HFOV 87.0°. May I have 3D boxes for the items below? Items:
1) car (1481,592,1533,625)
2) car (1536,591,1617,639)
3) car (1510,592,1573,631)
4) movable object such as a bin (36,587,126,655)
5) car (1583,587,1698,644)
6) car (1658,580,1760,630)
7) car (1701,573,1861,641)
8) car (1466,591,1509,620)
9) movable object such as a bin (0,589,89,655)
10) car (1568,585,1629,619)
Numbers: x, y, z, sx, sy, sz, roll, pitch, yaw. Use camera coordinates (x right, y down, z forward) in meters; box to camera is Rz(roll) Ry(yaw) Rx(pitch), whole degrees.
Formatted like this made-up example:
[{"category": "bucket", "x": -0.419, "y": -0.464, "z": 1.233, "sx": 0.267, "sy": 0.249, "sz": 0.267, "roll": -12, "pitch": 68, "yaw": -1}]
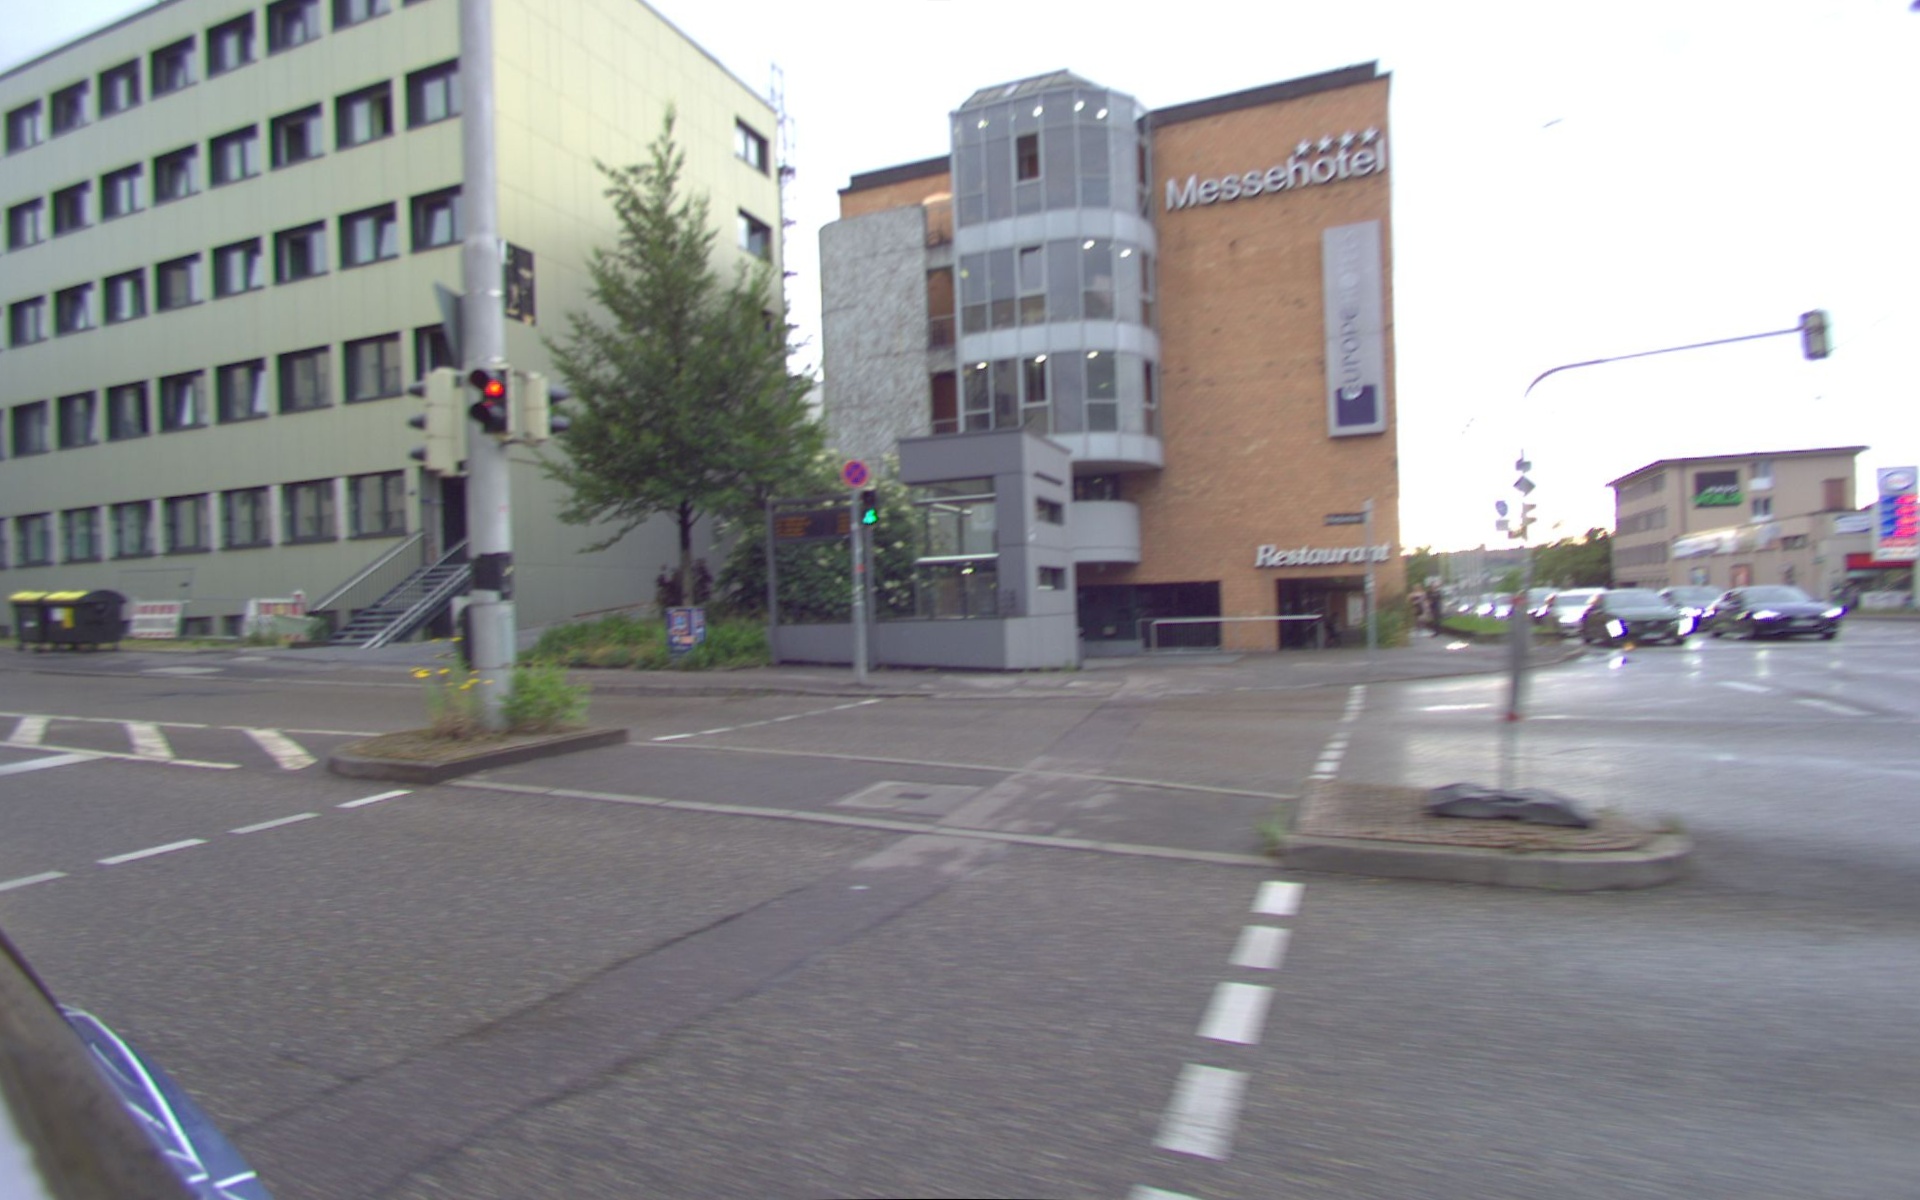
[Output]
[{"category": "car", "x": 25.576, "y": 0.364, "z": 47.403, "sx": 1.687, "sy": 1.411, "sz": 4.057, "roll": -3, "pitch": -1, "yaw": 23}, {"category": "car", "x": 20.285, "y": 0.472, "z": 33.460, "sx": 1.688, "sy": 1.411, "sz": 4.056, "roll": -3, "pitch": -1, "yaw": 24}, {"category": "car", "x": 23.352, "y": 0.436, "z": 40.737, "sx": 1.688, "sy": 1.411, "sz": 4.056, "roll": -3, "pitch": -1, "yaw": 24}, {"category": "movable object such as a bin", "x": -20.400, "y": 0.463, "z": 23.498, "sx": 1.350, "sy": 1.456, "sz": 1.049, "roll": 0, "pitch": 3, "yaw": 24}, {"category": "car", "x": 17.816, "y": 0.360, "z": 26.673, "sx": 1.639, "sy": 1.331, "sz": 3.971, "roll": -3, "pitch": 0, "yaw": 22}, {"category": "car", "x": 23.693, "y": 0.144, "z": 32.173, "sx": 1.688, "sy": 1.411, "sz": 4.056, "roll": -3, "pitch": -1, "yaw": 24}, {"category": "car", "x": 21.215, "y": 0.170, "z": 26.378, "sx": 1.952, "sy": 1.537, "sz": 4.232, "roll": -3, "pitch": -1, "yaw": 21}, {"category": "car", "x": 28.147, "y": 0.277, "z": 54.114, "sx": 1.688, "sy": 1.411, "sz": 4.056, "roll": -3, "pitch": -1, "yaw": 24}, {"category": "movable object such as a bin", "x": -21.758, "y": 0.505, "z": 24.049, "sx": 1.422, "sy": 1.456, "sz": 1.049, "roll": 0, "pitch": 3, "yaw": 24}, {"category": "car", "x": 29.005, "y": 0.054, "z": 46.103, "sx": 1.688, "sy": 1.411, "sz": 4.056, "roll": -3, "pitch": -1, "yaw": 24}]
